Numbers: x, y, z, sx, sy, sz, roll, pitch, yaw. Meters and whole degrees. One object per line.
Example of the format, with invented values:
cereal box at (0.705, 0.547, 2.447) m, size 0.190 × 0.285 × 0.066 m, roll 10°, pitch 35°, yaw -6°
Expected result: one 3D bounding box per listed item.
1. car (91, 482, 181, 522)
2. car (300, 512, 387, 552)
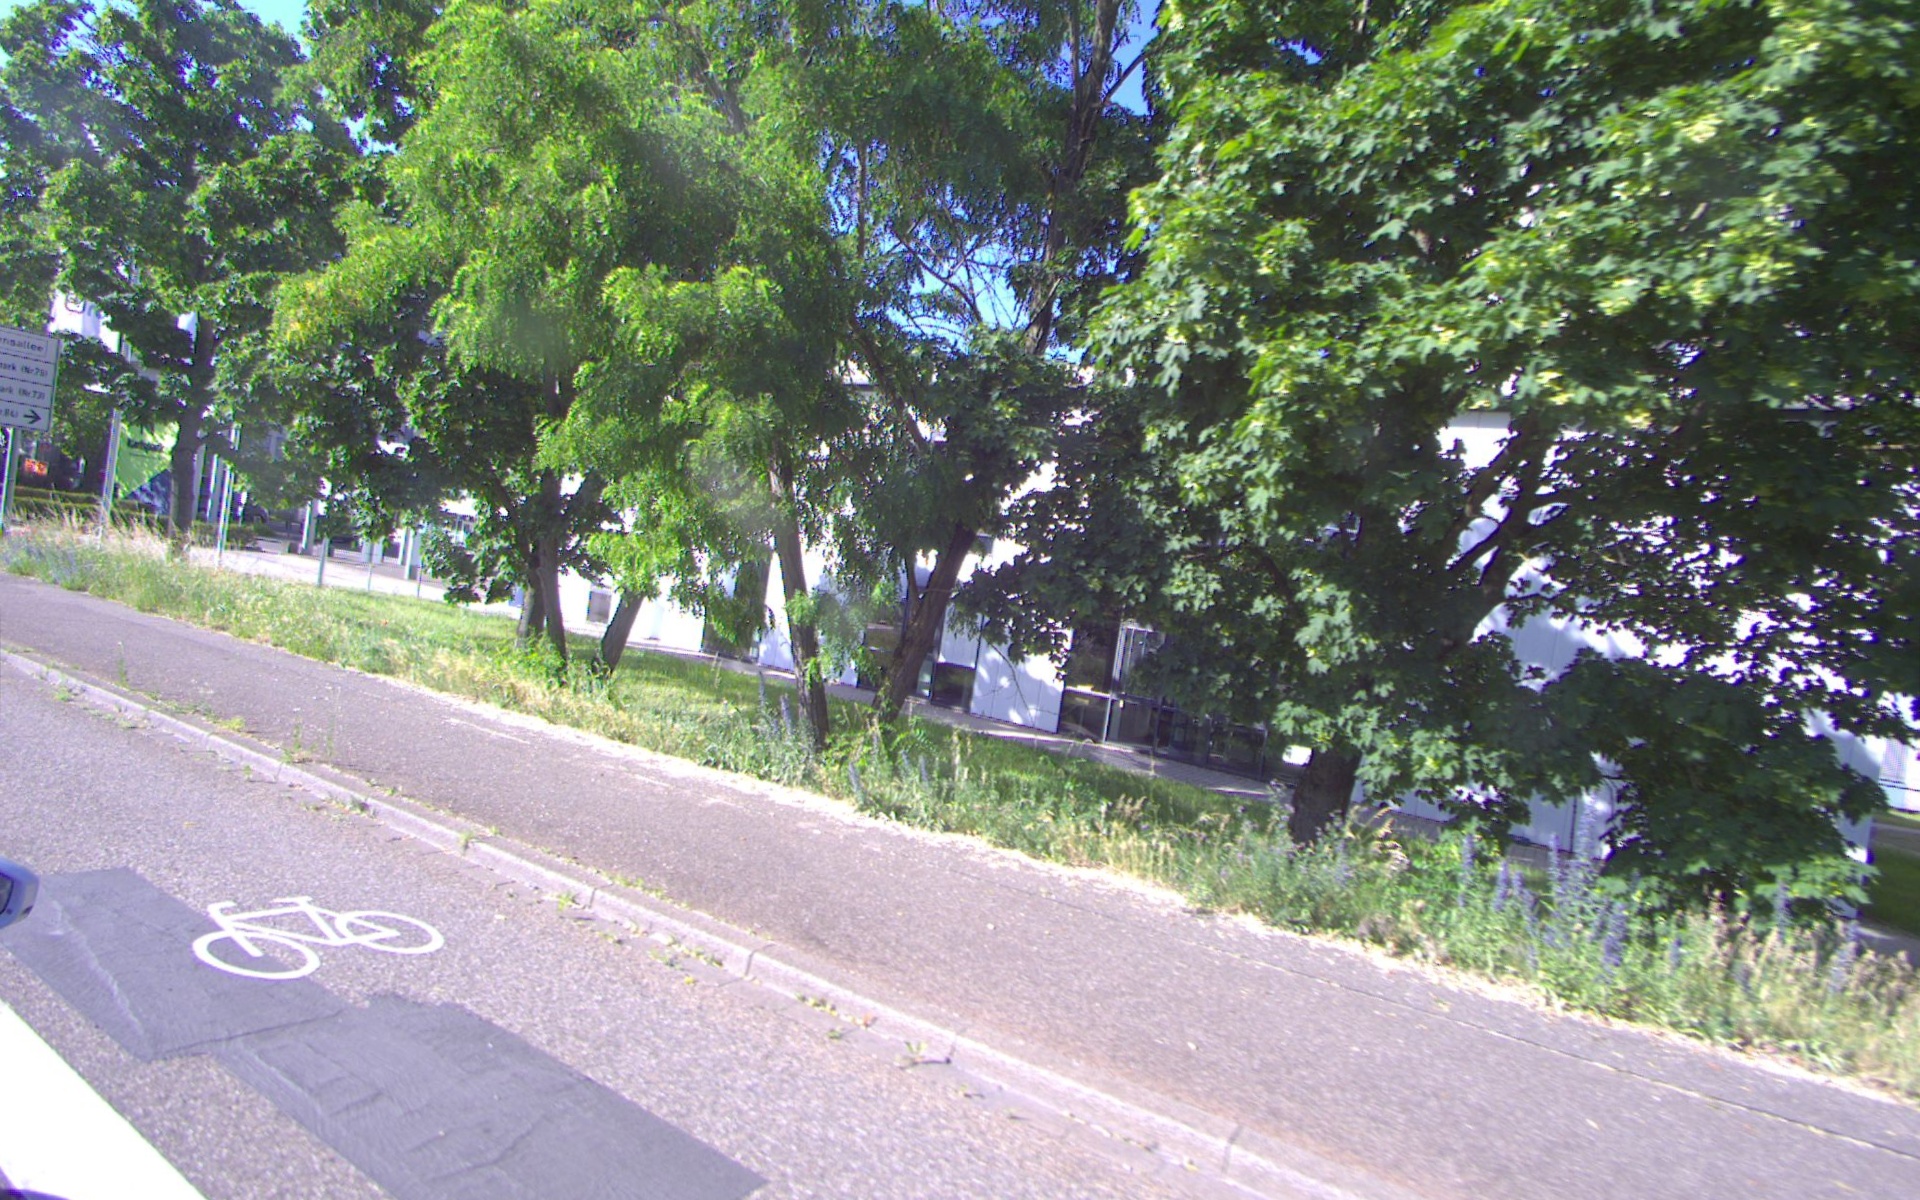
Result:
car at (-54.044, -6.397, 66.037) m, size 1.963 × 1.778 × 4.002 m, roll 8°, pitch -1°, yaw 19°
car at (-37.400, -4.102, 61.127) m, size 1.865 × 1.741 × 4.000 m, roll 8°, pitch -1°, yaw 23°
